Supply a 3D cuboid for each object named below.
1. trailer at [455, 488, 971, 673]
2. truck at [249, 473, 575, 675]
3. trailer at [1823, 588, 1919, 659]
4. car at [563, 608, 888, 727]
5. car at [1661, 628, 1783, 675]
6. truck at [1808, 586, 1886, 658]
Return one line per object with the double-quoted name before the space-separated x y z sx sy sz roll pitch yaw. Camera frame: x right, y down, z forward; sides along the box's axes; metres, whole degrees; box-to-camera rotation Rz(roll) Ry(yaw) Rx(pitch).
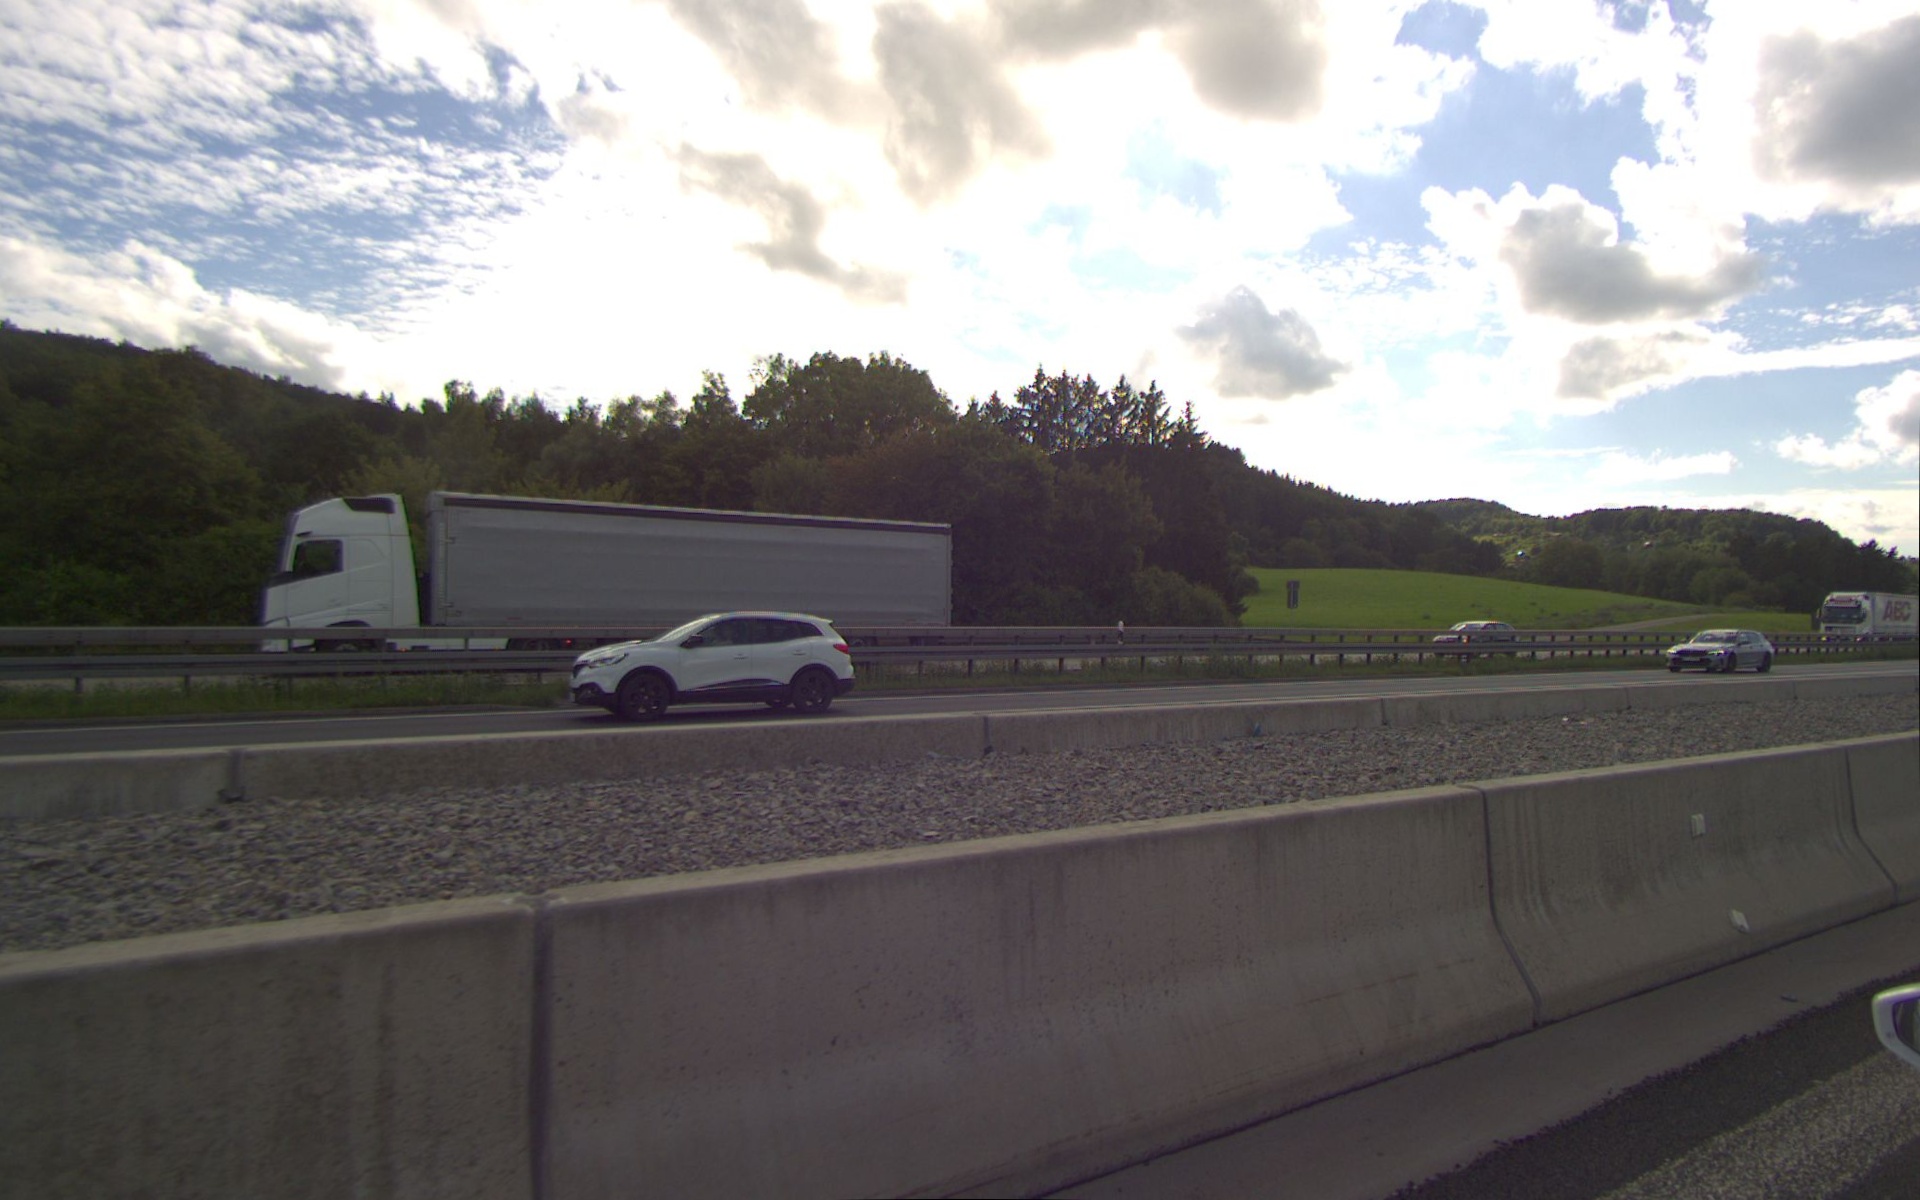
"trailer" -6.187 -0.267 27.241 13.230 4.147 3.137 2 -1 -31
"truck" -12.569 -0.441 23.460 6.213 4.120 3.137 2 -1 -30
"trailer" 72.897 1.927 79.877 14.574 5.229 3.088 2 -1 -35
"car" -3.654 1.000 15.908 4.696 1.652 1.790 2 -1 -29
"car" 26.421 1.767 34.776 4.939 1.514 1.637 2 -1 -31
"truck" 66.811 1.659 75.611 6.564 5.210 3.005 2 -1 -35
